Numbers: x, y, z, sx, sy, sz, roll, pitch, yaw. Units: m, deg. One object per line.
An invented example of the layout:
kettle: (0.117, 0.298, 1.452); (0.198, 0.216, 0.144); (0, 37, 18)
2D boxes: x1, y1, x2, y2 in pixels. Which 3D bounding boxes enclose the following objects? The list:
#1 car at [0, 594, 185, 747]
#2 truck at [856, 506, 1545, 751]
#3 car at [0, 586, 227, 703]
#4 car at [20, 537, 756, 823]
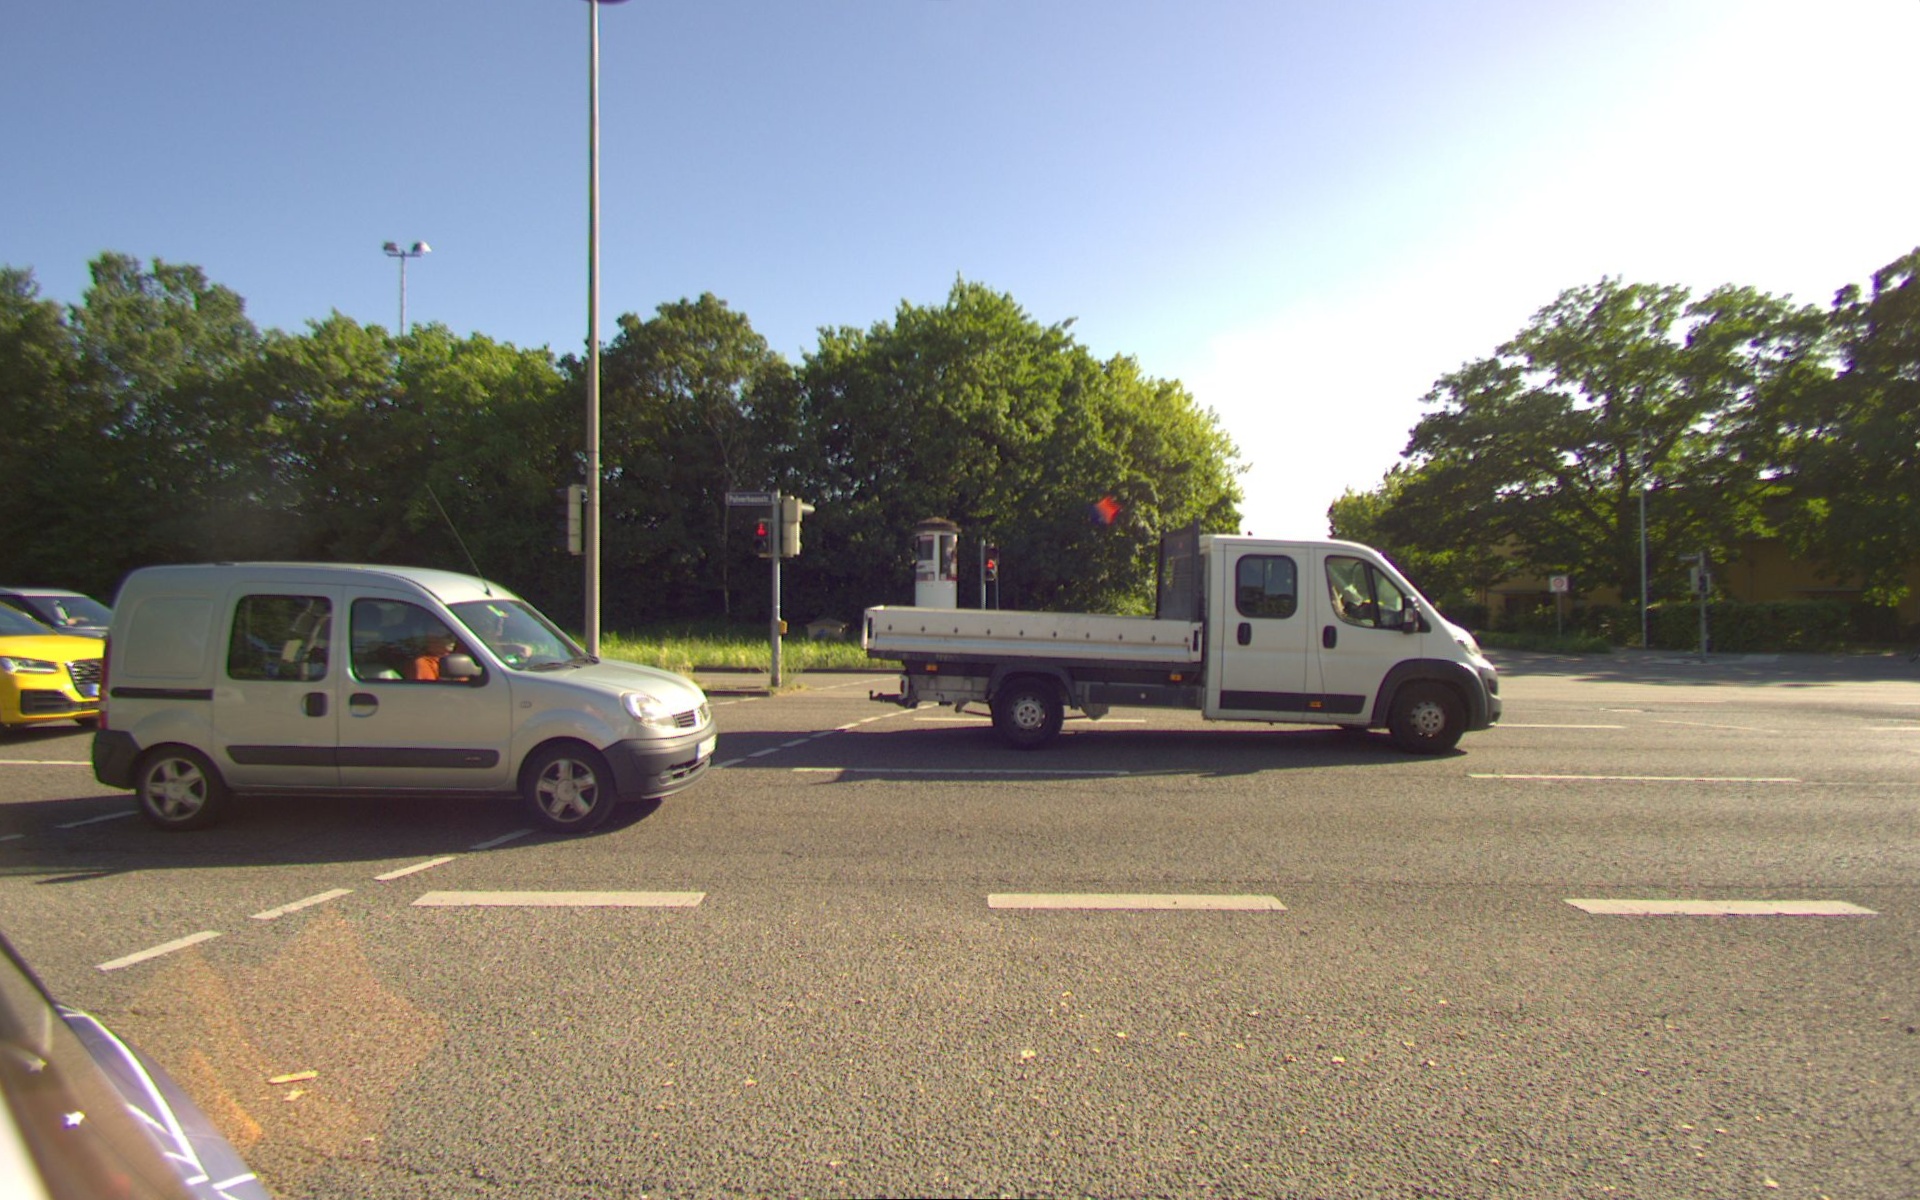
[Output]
car: (-10.744, 0.655, 10.555); (4.064, 1.451, 1.692); (1, 0, 1)
truck: (2.325, 0.285, 10.934); (6.680, 2.327, 2.191); (0, -1, 0)
car: (-13.264, 0.605, 14.537); (4.137, 1.549, 1.836); (1, -1, 1)
car: (-3.839, 0.468, 7.346); (4.306, 1.741, 1.919); (1, 1, 3)
